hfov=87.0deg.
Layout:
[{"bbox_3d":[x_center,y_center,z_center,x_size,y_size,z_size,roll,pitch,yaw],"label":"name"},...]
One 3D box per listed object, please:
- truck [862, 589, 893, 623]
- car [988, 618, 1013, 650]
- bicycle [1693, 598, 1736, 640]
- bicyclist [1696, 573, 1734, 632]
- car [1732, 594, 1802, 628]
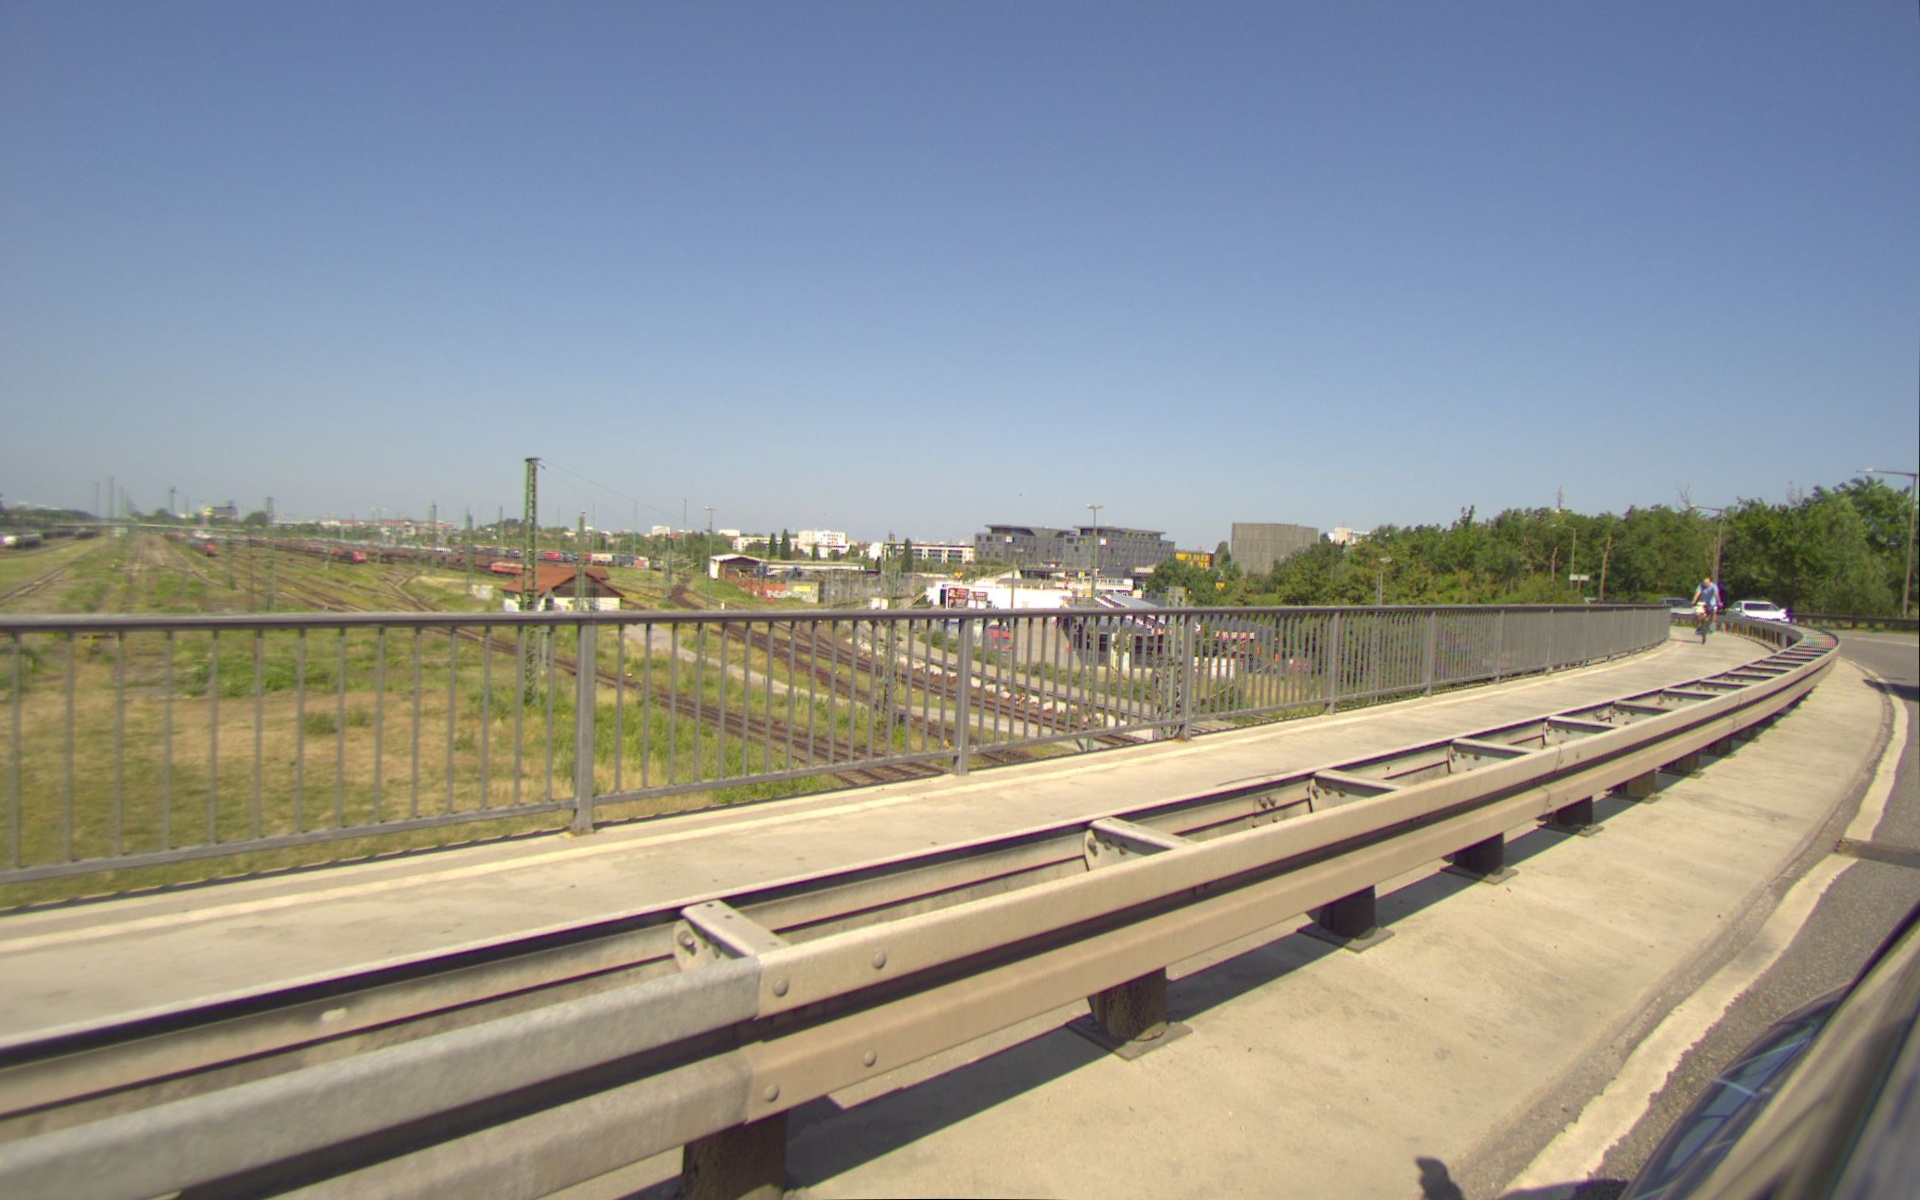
[{"bbox_3d":[-11.810,0.800,143.860,3.745,4.079,13.292,3,1,-7],"label":"truck"},{"bbox_3d":[4.100,3.397,102.428,2.265,2.695,5.379,-4,3,1],"label":"car"},{"bbox_3d":[20.680,0.503,27.764,0.699,1.032,1.825,6,3,31],"label":"bicycle"},{"bbox_3d":[20.700,0.065,27.746,0.655,1.538,0.794,5,3,32],"label":"bicyclist"},{"bbox_3d":[38.382,0.503,48.230,1.830,1.507,4.112,1,1,28],"label":"car"}]
